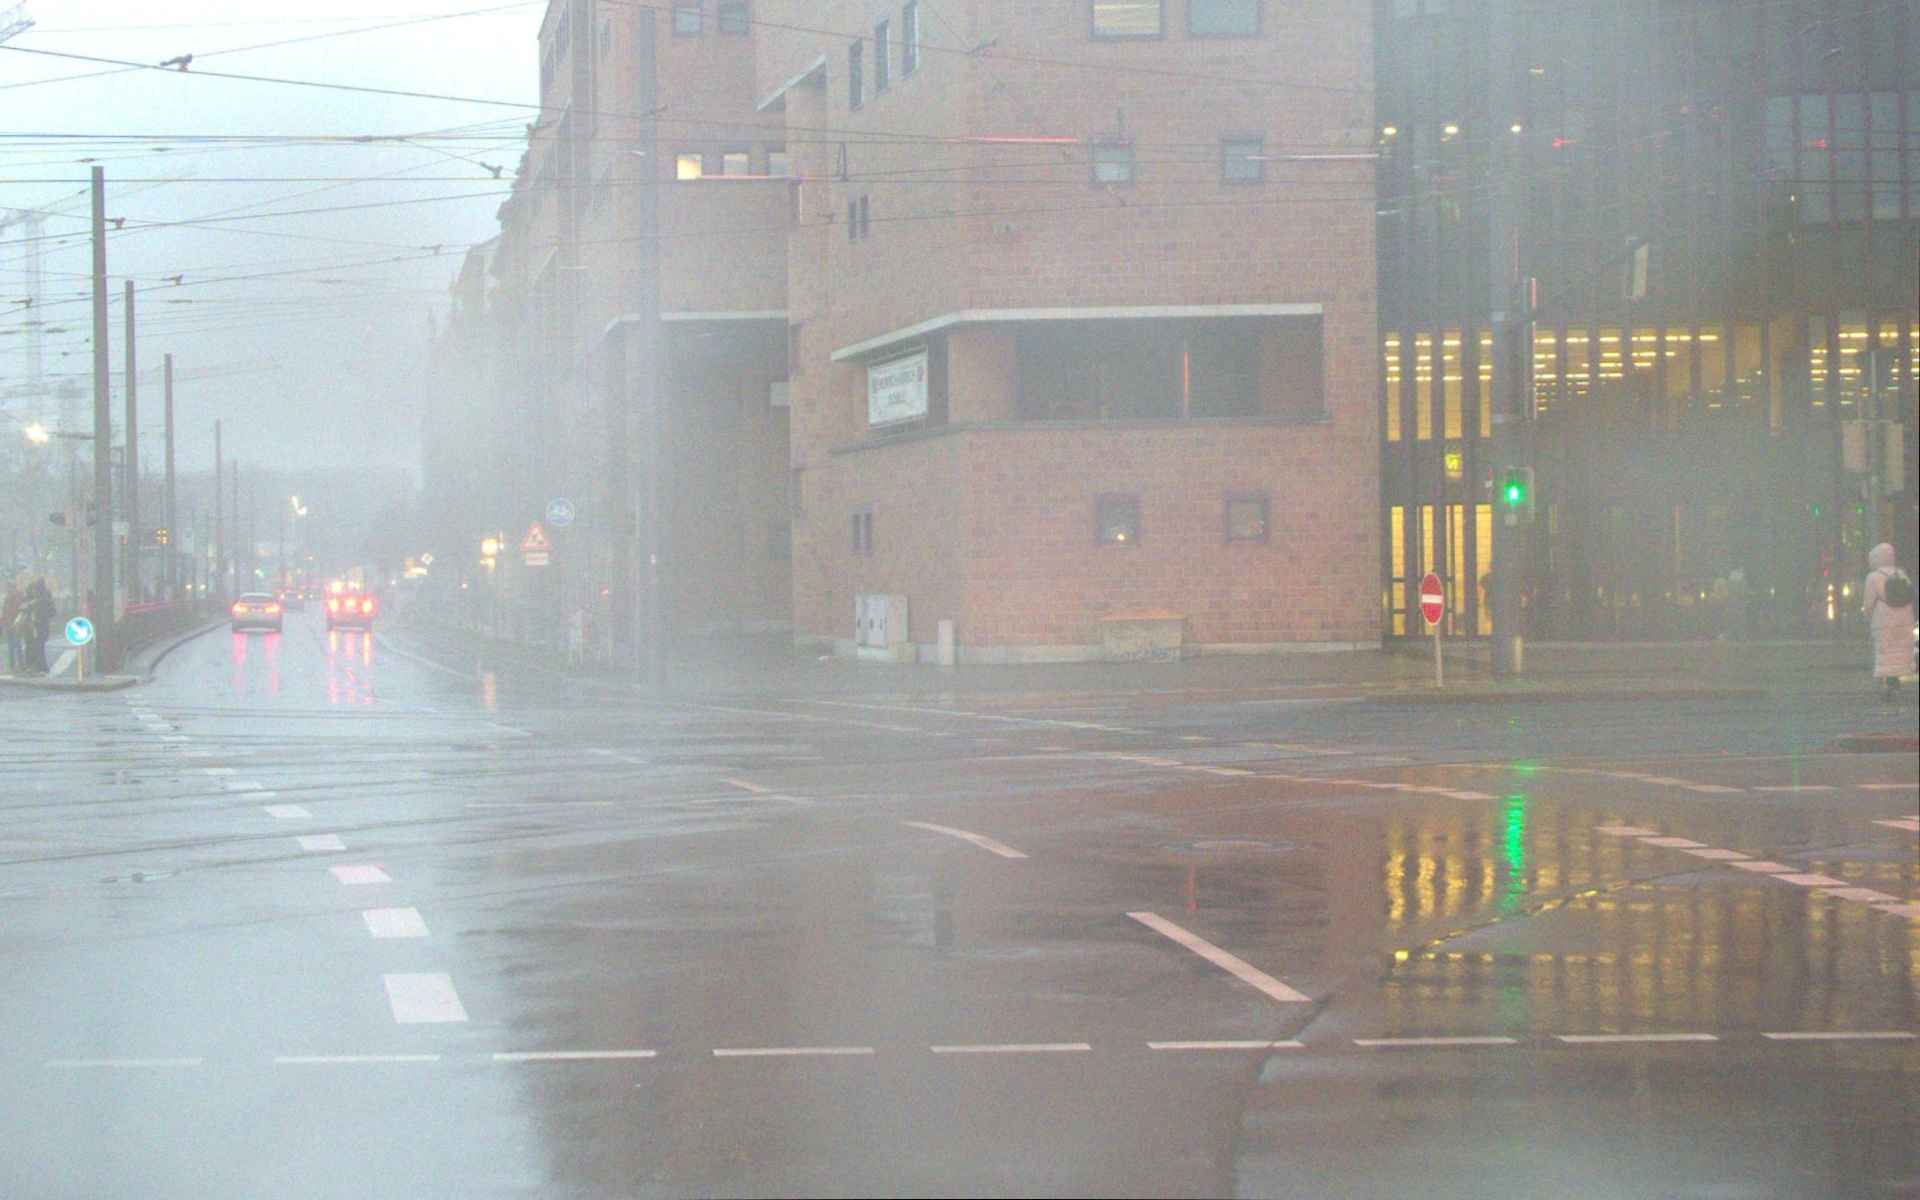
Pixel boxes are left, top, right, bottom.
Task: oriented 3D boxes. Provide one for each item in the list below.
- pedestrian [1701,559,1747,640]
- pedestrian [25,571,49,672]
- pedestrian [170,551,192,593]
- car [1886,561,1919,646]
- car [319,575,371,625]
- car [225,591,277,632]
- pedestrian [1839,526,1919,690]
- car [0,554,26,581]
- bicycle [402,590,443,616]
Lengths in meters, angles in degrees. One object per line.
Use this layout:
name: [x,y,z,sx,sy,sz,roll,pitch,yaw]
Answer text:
pedestrian: [13.293,-0.009,59.816,0.737,1.384,0.737,-1,0,11]
pedestrian: [-17.064,0.393,63.561,0.412,1.839,0.670,0,0,-15]
pedestrian: [-28.357,-1.022,125.192,0.679,1.511,0.619,0,0,-23]
car: [16.714,0.040,53.655,3.980,1.306,1.815,0,0,-8]
car: [-25.397,0.003,142.136,1.993,2.007,4.001,-1,1,-9]
car: [-26.844,0.425,130.228,1.783,1.462,3.149,-1,1,-9]
pedestrian: [10.264,0.082,38.072,0.733,1.781,0.735,-1,0,-14]
car: [-48.130,-1.630,173.458,1.681,1.349,3.547,0,0,-11]
bicycle: [-23.408,0.133,149.690,1.729,1.051,0.371,-2,1,-11]
